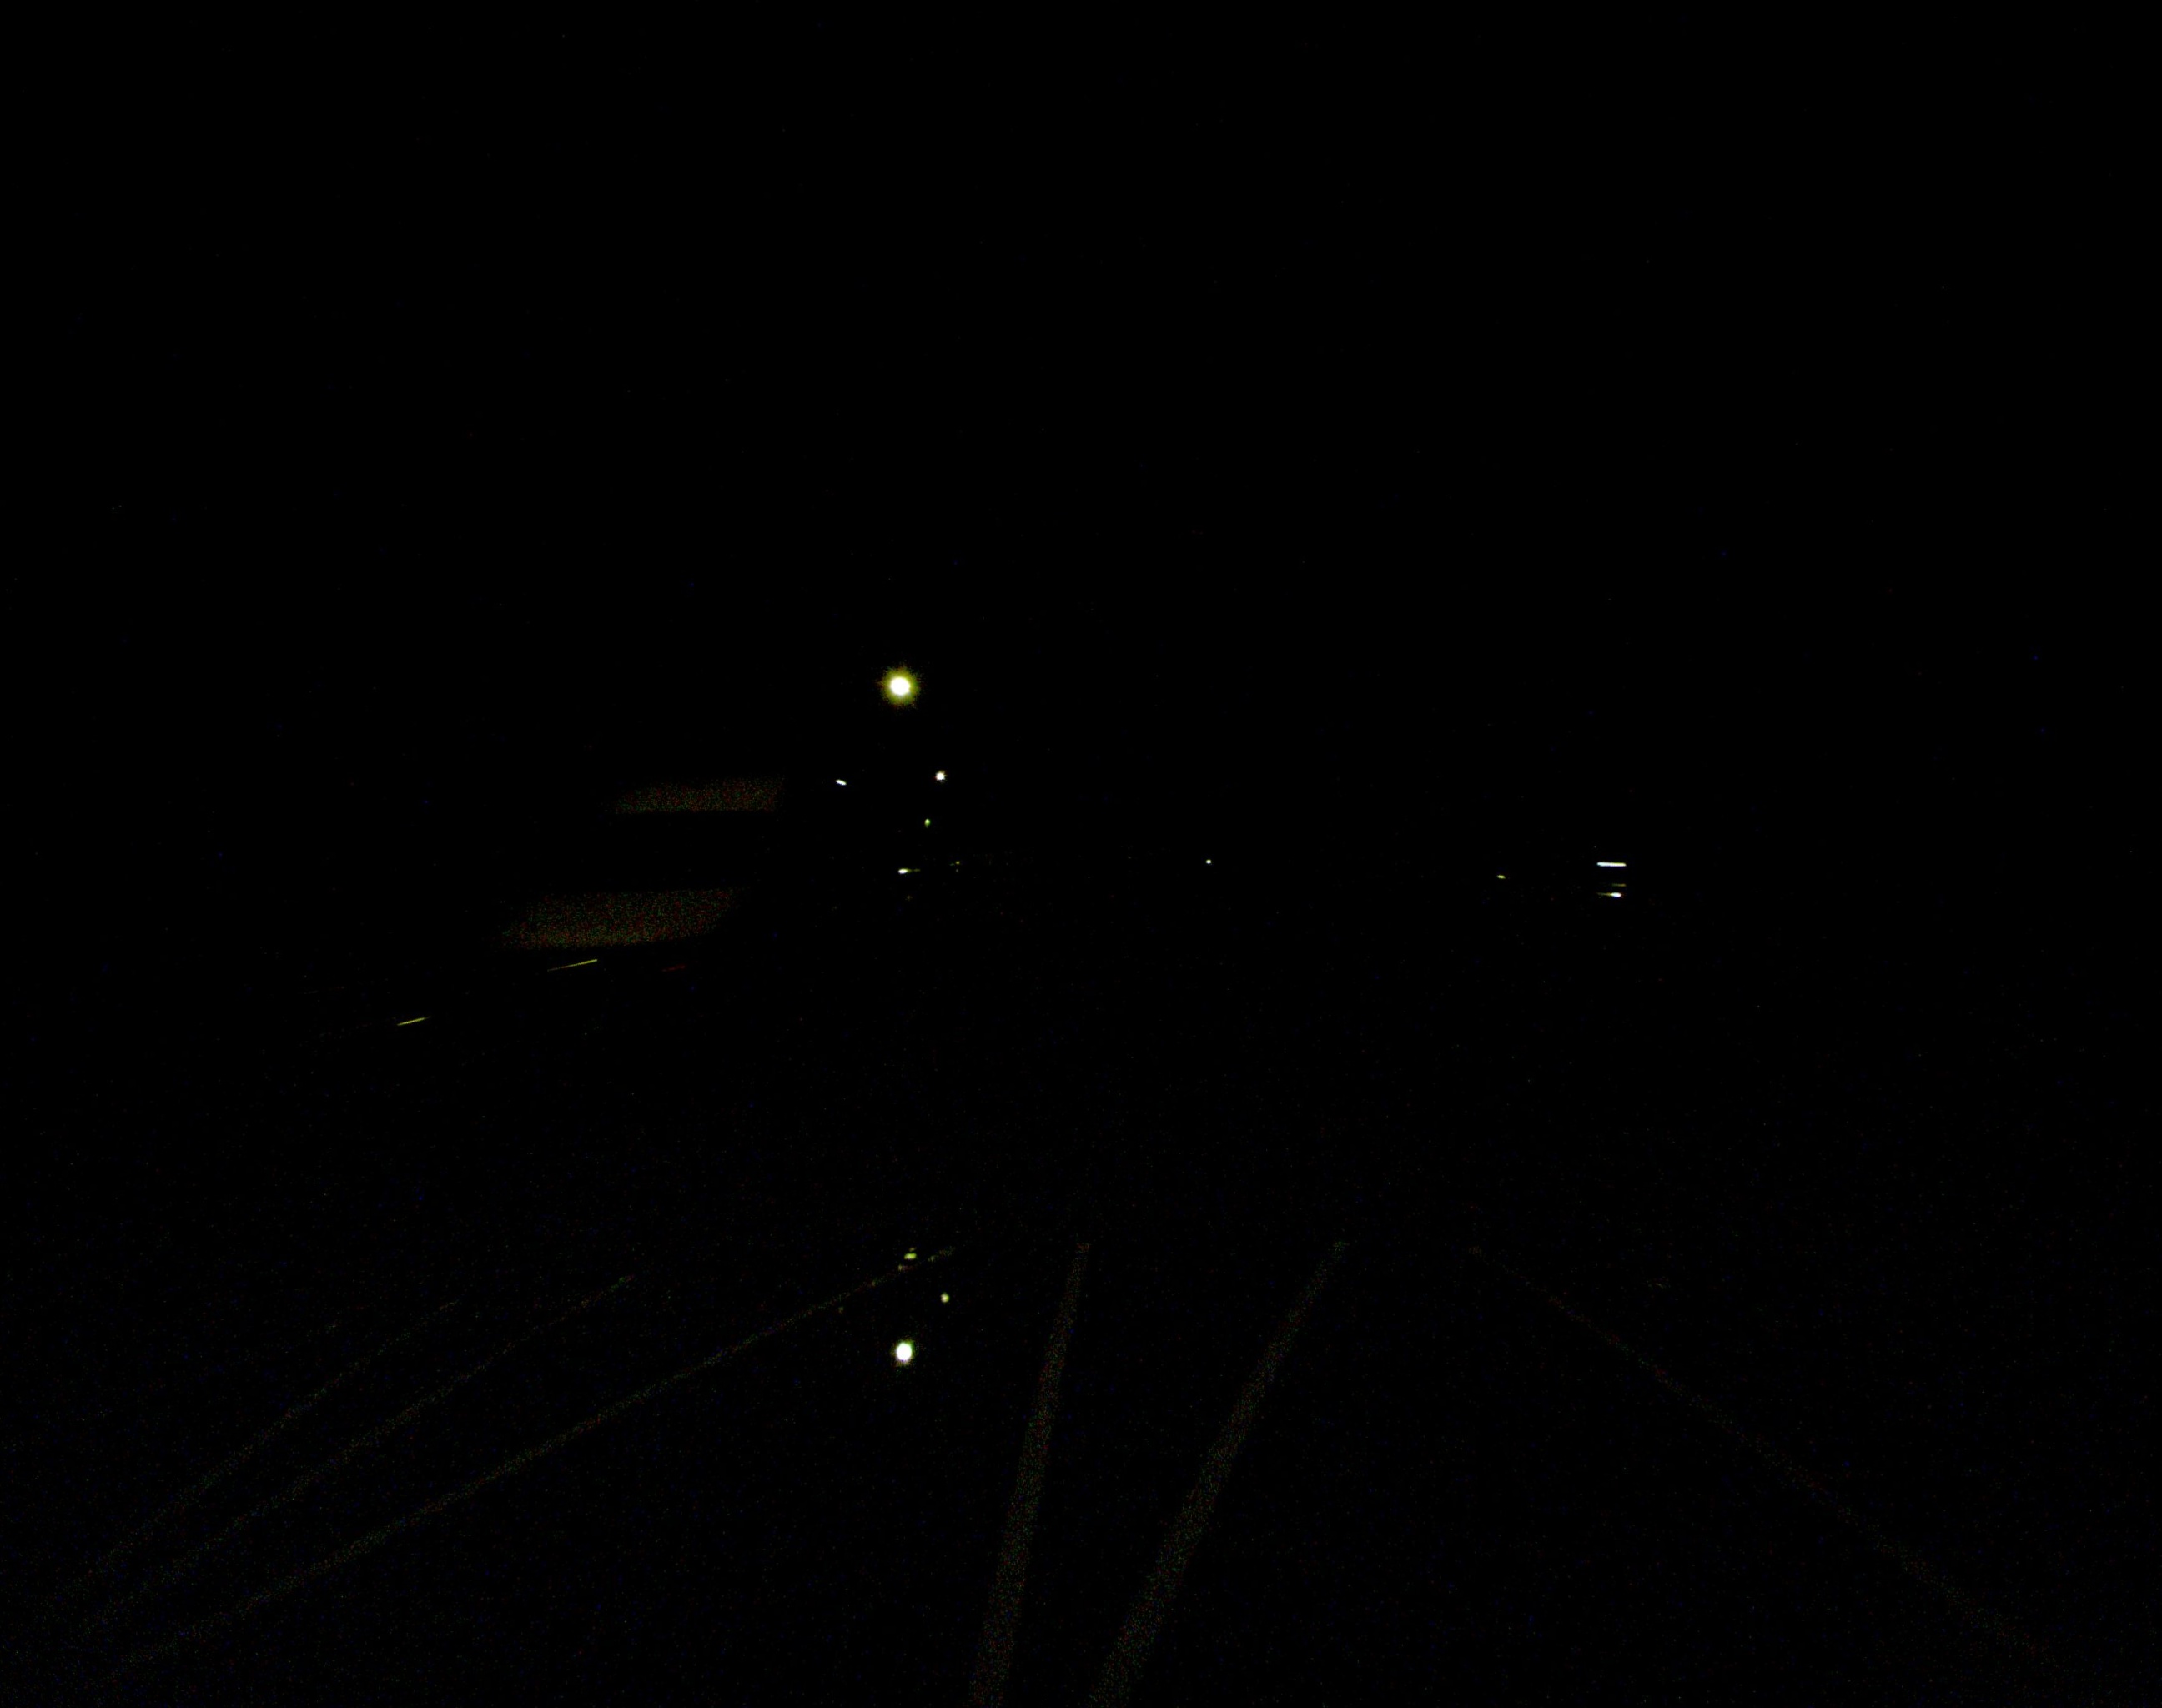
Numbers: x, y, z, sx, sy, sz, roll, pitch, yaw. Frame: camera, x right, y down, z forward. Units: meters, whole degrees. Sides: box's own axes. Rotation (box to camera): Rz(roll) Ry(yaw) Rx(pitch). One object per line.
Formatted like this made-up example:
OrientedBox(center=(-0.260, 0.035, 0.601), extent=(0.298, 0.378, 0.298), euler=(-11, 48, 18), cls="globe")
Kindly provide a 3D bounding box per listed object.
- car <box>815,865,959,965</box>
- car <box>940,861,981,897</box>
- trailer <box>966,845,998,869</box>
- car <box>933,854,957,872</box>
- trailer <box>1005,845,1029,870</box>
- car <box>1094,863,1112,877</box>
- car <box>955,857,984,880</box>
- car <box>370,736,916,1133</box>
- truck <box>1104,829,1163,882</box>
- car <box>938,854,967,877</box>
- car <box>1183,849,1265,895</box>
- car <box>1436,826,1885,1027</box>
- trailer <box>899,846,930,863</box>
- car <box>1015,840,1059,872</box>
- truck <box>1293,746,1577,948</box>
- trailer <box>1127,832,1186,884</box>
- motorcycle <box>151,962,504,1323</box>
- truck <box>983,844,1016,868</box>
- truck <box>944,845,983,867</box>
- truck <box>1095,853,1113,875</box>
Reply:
OrientedBox(center=(-3.578, 1.045, 14.885), extent=(1.715, 1.499, 4.639), euler=(-3, 0, -2), cls="car")
OrientedBox(center=(-5.540, 1.103, 34.917), extent=(1.716, 1.499, 3.996), euler=(-2, 0, -9), cls="car")
OrientedBox(center=(-13.241, 0.353, 101.221), extent=(2.493, 3.055, 7.941), euler=(-1, 0, -20), cls="trailer")
OrientedBox(center=(-14.524, 0.946, 80.891), extent=(1.736, 1.769, 4.309), euler=(-2, 1, -20), cls="car")
OrientedBox(center=(-7.344, 0.404, 86.841), extent=(2.005, 2.749, 3.994), euler=(1, -1, -17), cls="trailer")
OrientedBox(center=(2.539, 1.828, 87.968), extent=(1.862, 1.630, 4.000), euler=(0, 0, -1), cls="car")
OrientedBox(center=(-8.105, 1.043, 55.106), extent=(1.614, 1.503, 3.820), euler=(-4, 1, -15), cls="car")
OrientedBox(center=(-3.501, 0.526, 7.960), extent=(2.025, 2.512, 6.051), euler=(-2, 0, 1), cls="car")
OrientedBox(center=(3.346, 0.089, 50.474), extent=(2.381, 3.224, 7.226), euler=(-1, 0, -8), cls="truck")
OrientedBox(center=(-12.463, 1.083, 73.552), extent=(2.001, 2.002, 5.347), euler=(-3, 0, -17), cls="car")
OrientedBox(center=(5.975, 0.707, 32.388), extent=(2.000, 1.761, 4.688), euler=(-1, 0, -8), cls="car")
OrientedBox(center=(6.380, 0.657, 9.304), extent=(1.834, 1.806, 4.838), euler=(0, 0, 0), cls="car")
OrientedBox(center=(-20.938, 0.061, 95.634), extent=(1.498, 2.002, 4.971), euler=(-1, 0, -43), cls="trailer")
OrientedBox(center=(-4.687, 0.238, 79.912), extent=(2.392, 3.224, 7.218), euler=(-1, 0, -22), cls="car")
OrientedBox(center=(6.817, -0.114, 16.101), extent=(2.550, 3.261, 7.311), euler=(-1, 0, 0), cls="truck")
OrientedBox(center=(4.287, 0.218, 43.806), extent=(2.212, 2.779, 4.612), euler=(-1, 0, -9), cls="trailer")
OrientedBox(center=(-3.849, 1.236, 3.819), extent=(2.179, 1.177, 0.770), euler=(-2, 1, 33), cls="motorcycle")
OrientedBox(center=(-10.035, 0.280, 93.077), extent=(2.002, 2.767, 7.230), euler=(-1, 0, -22), cls="truck")
OrientedBox(center=(-17.310, 0.238, 111.411), extent=(2.756, 3.047, 9.316), euler=(-1, 0, -28), cls="truck")
OrientedBox(center=(2.822, 1.241, 96.521), extent=(2.138, 2.597, 7.099), euler=(0, 0, 0), cls="truck")
